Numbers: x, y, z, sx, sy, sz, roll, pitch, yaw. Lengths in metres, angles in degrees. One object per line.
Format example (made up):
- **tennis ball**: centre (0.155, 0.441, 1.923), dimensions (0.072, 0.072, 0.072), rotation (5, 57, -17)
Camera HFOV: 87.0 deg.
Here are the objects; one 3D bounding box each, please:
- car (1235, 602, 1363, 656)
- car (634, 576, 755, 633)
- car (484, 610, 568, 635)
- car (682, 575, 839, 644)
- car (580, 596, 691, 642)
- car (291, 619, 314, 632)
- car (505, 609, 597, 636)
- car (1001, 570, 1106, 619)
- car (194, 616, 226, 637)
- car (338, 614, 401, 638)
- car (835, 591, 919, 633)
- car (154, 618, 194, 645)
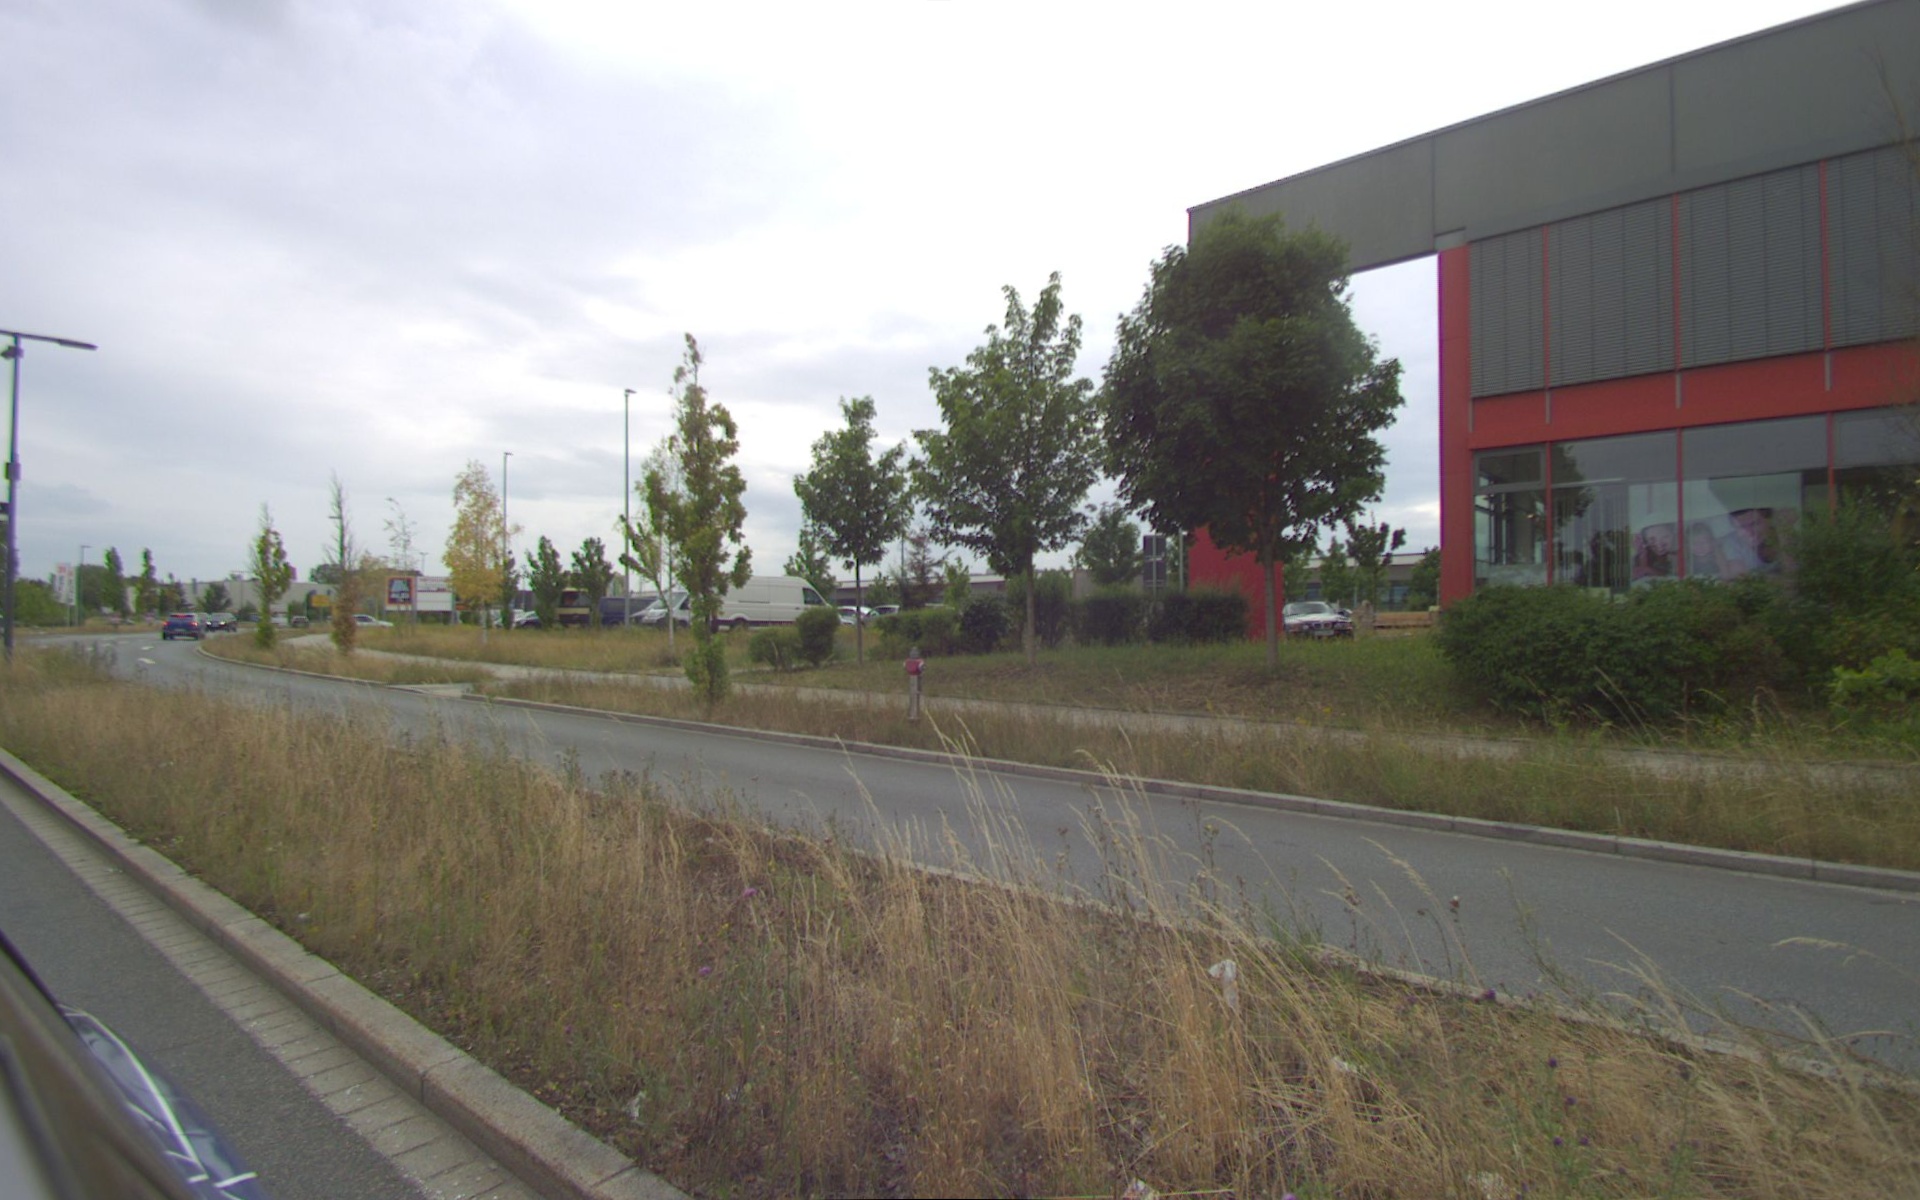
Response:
- **car**: centre (8.644, 0.704, 25.876), dimensions (2.860, 1.279, 1.245), rotation (0, 0, 42)
- **car**: centre (-11.802, 0.180, 45.262), dimensions (2.064, 2.391, 4.988), rotation (0, 0, 41)
- **car**: centre (-30.023, 1.560, 70.135), dimensions (4.977, 1.669, 2.068), rotation (2, -2, -39)
- **car**: centre (-8.138, 0.353, 41.817), dimensions (2.066, 2.644, 6.326), rotation (0, 0, 45)
- **car**: centre (-16.488, 0.997, 51.609), dimensions (4.979, 2.240, 2.067), rotation (2, -2, -42)
- **car**: centre (-73.400, 2.847, 112.974), dimensions (1.704, 1.504, 4.013), rotation (1, -2, -27)
- **car**: centre (-25.737, 1.447, 63.816), dimensions (4.977, 1.669, 2.068), rotation (2, -2, -39)
- **car**: centre (4.725, -0.275, 51.463), dimensions (5.049, 2.391, 2.039), rotation (0, 0, 37)
- **car**: centre (-63.559, 2.222, 85.834), dimensions (1.966, 1.586, 4.011), rotation (0, 0, -33)
- **car**: centre (-44.954, 2.000, 77.140), dimensions (3.931, 1.683, 2.006), rotation (-1, -1, -24)
- **car**: centre (-4.949, 0.696, 59.887), dimensions (5.055, 2.391, 2.036), rotation (0, 0, 41)
- **car**: centre (-46.722, 1.864, 60.155), dimensions (1.707, 1.524, 4.006), rotation (2, -2, -40)
